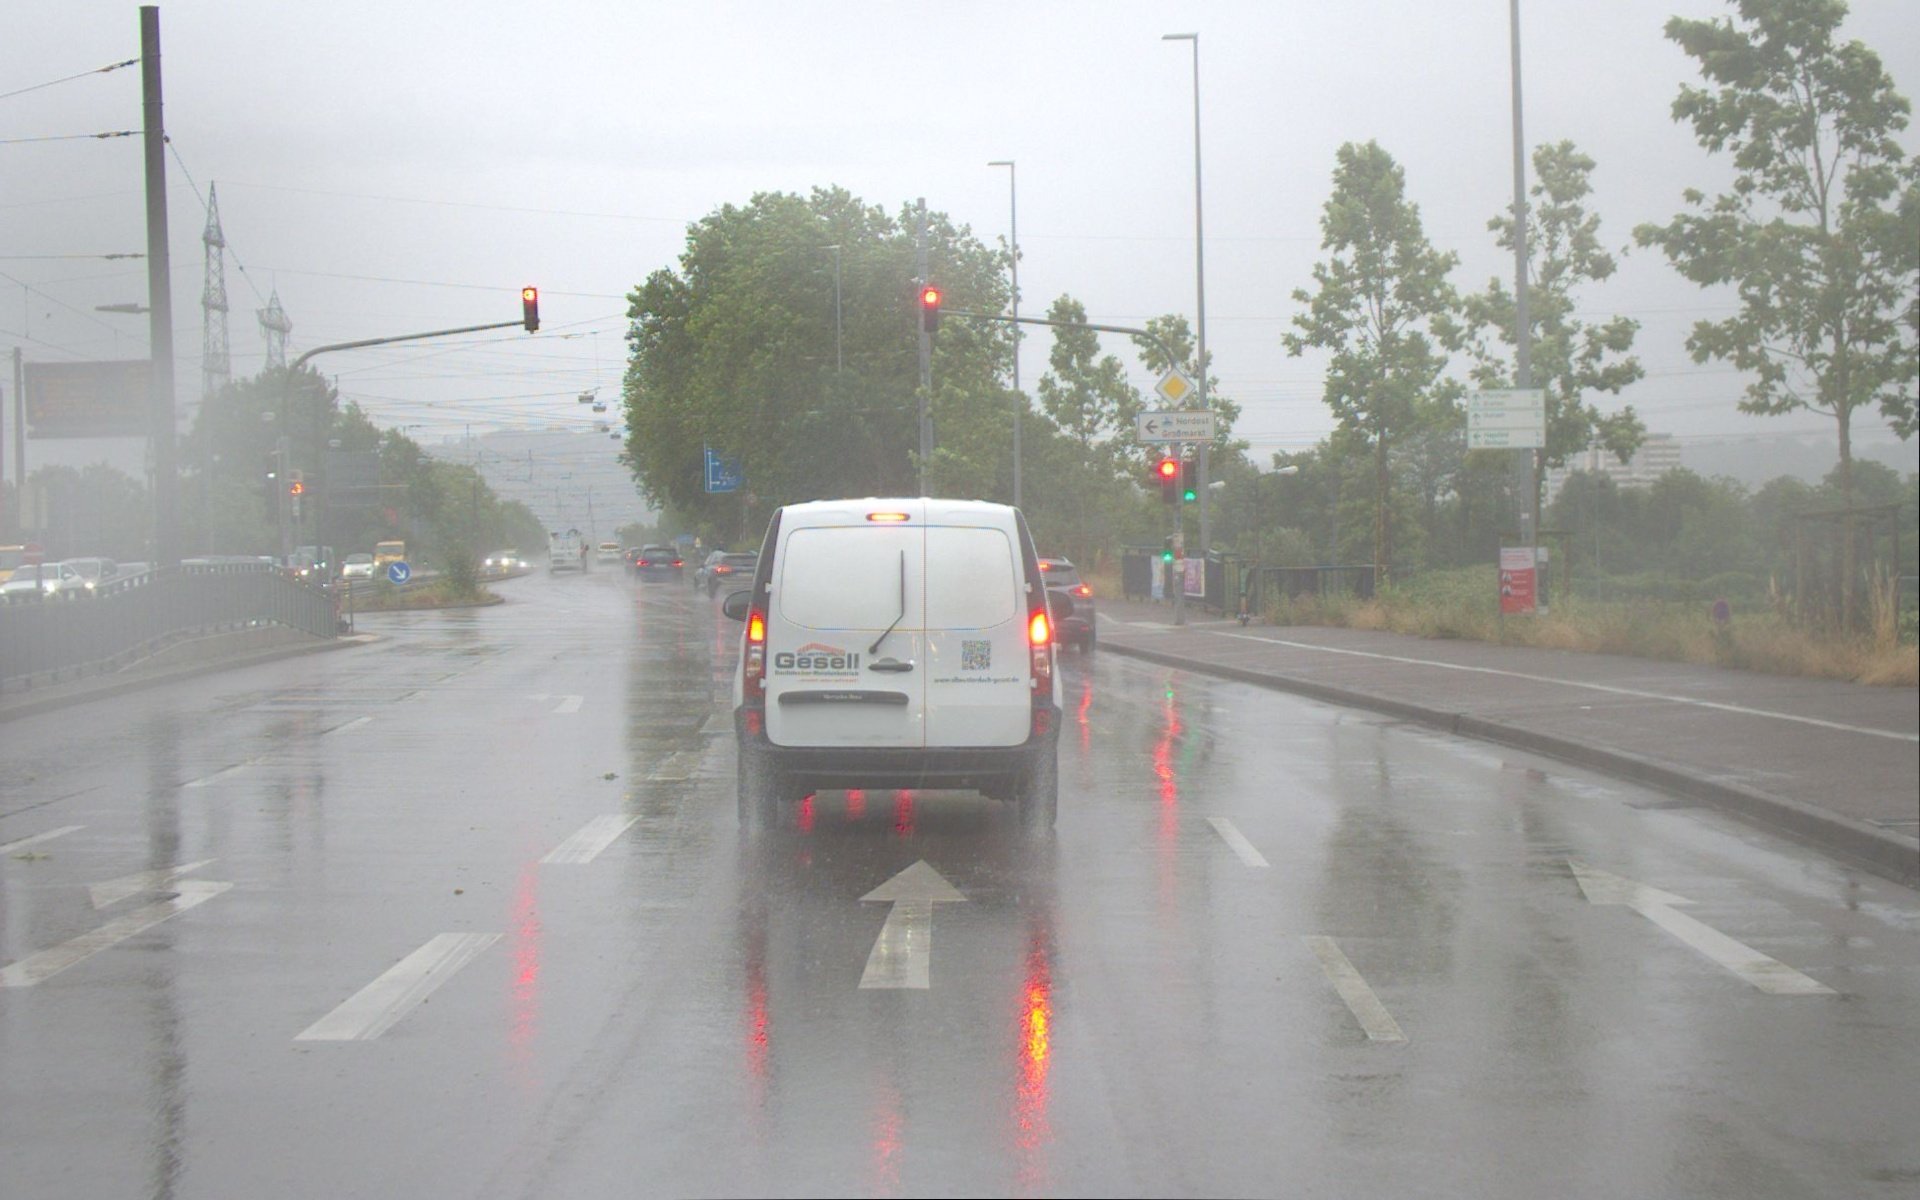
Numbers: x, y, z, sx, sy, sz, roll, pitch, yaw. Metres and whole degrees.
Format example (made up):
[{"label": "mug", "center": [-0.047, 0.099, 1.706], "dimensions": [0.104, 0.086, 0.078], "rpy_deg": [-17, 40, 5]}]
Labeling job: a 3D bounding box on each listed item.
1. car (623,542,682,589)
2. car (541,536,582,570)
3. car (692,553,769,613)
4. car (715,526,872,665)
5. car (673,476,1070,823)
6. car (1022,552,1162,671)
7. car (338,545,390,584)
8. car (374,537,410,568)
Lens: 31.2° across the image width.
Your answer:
[{"label": "car", "center": [-11.731, -1.326, 130.984], "dimensions": [1.993, 1.744, 4.001], "rpy_deg": [1, 1, -8]}, {"label": "car", "center": [-20.927, -2.461, 180.487], "dimensions": [1.993, 1.744, 4.001], "rpy_deg": [1, 1, -8]}, {"label": "car", "center": [-6.981, -0.528, 104.239], "dimensions": [1.993, 1.744, 4.001], "rpy_deg": [1, 1, -8]}, {"label": "car", "center": [-2.195, -0.083, 45.975], "dimensions": [1.993, 1.744, 4.000], "rpy_deg": [1, 1, -2]}, {"label": "car", "center": [-0.559, 0.230, 19.880], "dimensions": [2.024, 1.769, 4.275], "rpy_deg": [1, 1, -3]}, {"label": "car", "center": [1.985, 0.147, 52.884], "dimensions": [1.993, 1.744, 4.000], "rpy_deg": [1, 1, 0]}, {"label": "car", "center": [-31.684, -1.900, 182.844], "dimensions": [1.993, 2.007, 4.000], "rpy_deg": [1, 1, 0]}, {"label": "car", "center": [-37.790, -3.188, 228.789], "dimensions": [1.993, 2.007, 4.001], "rpy_deg": [1, 1, -4]}]
